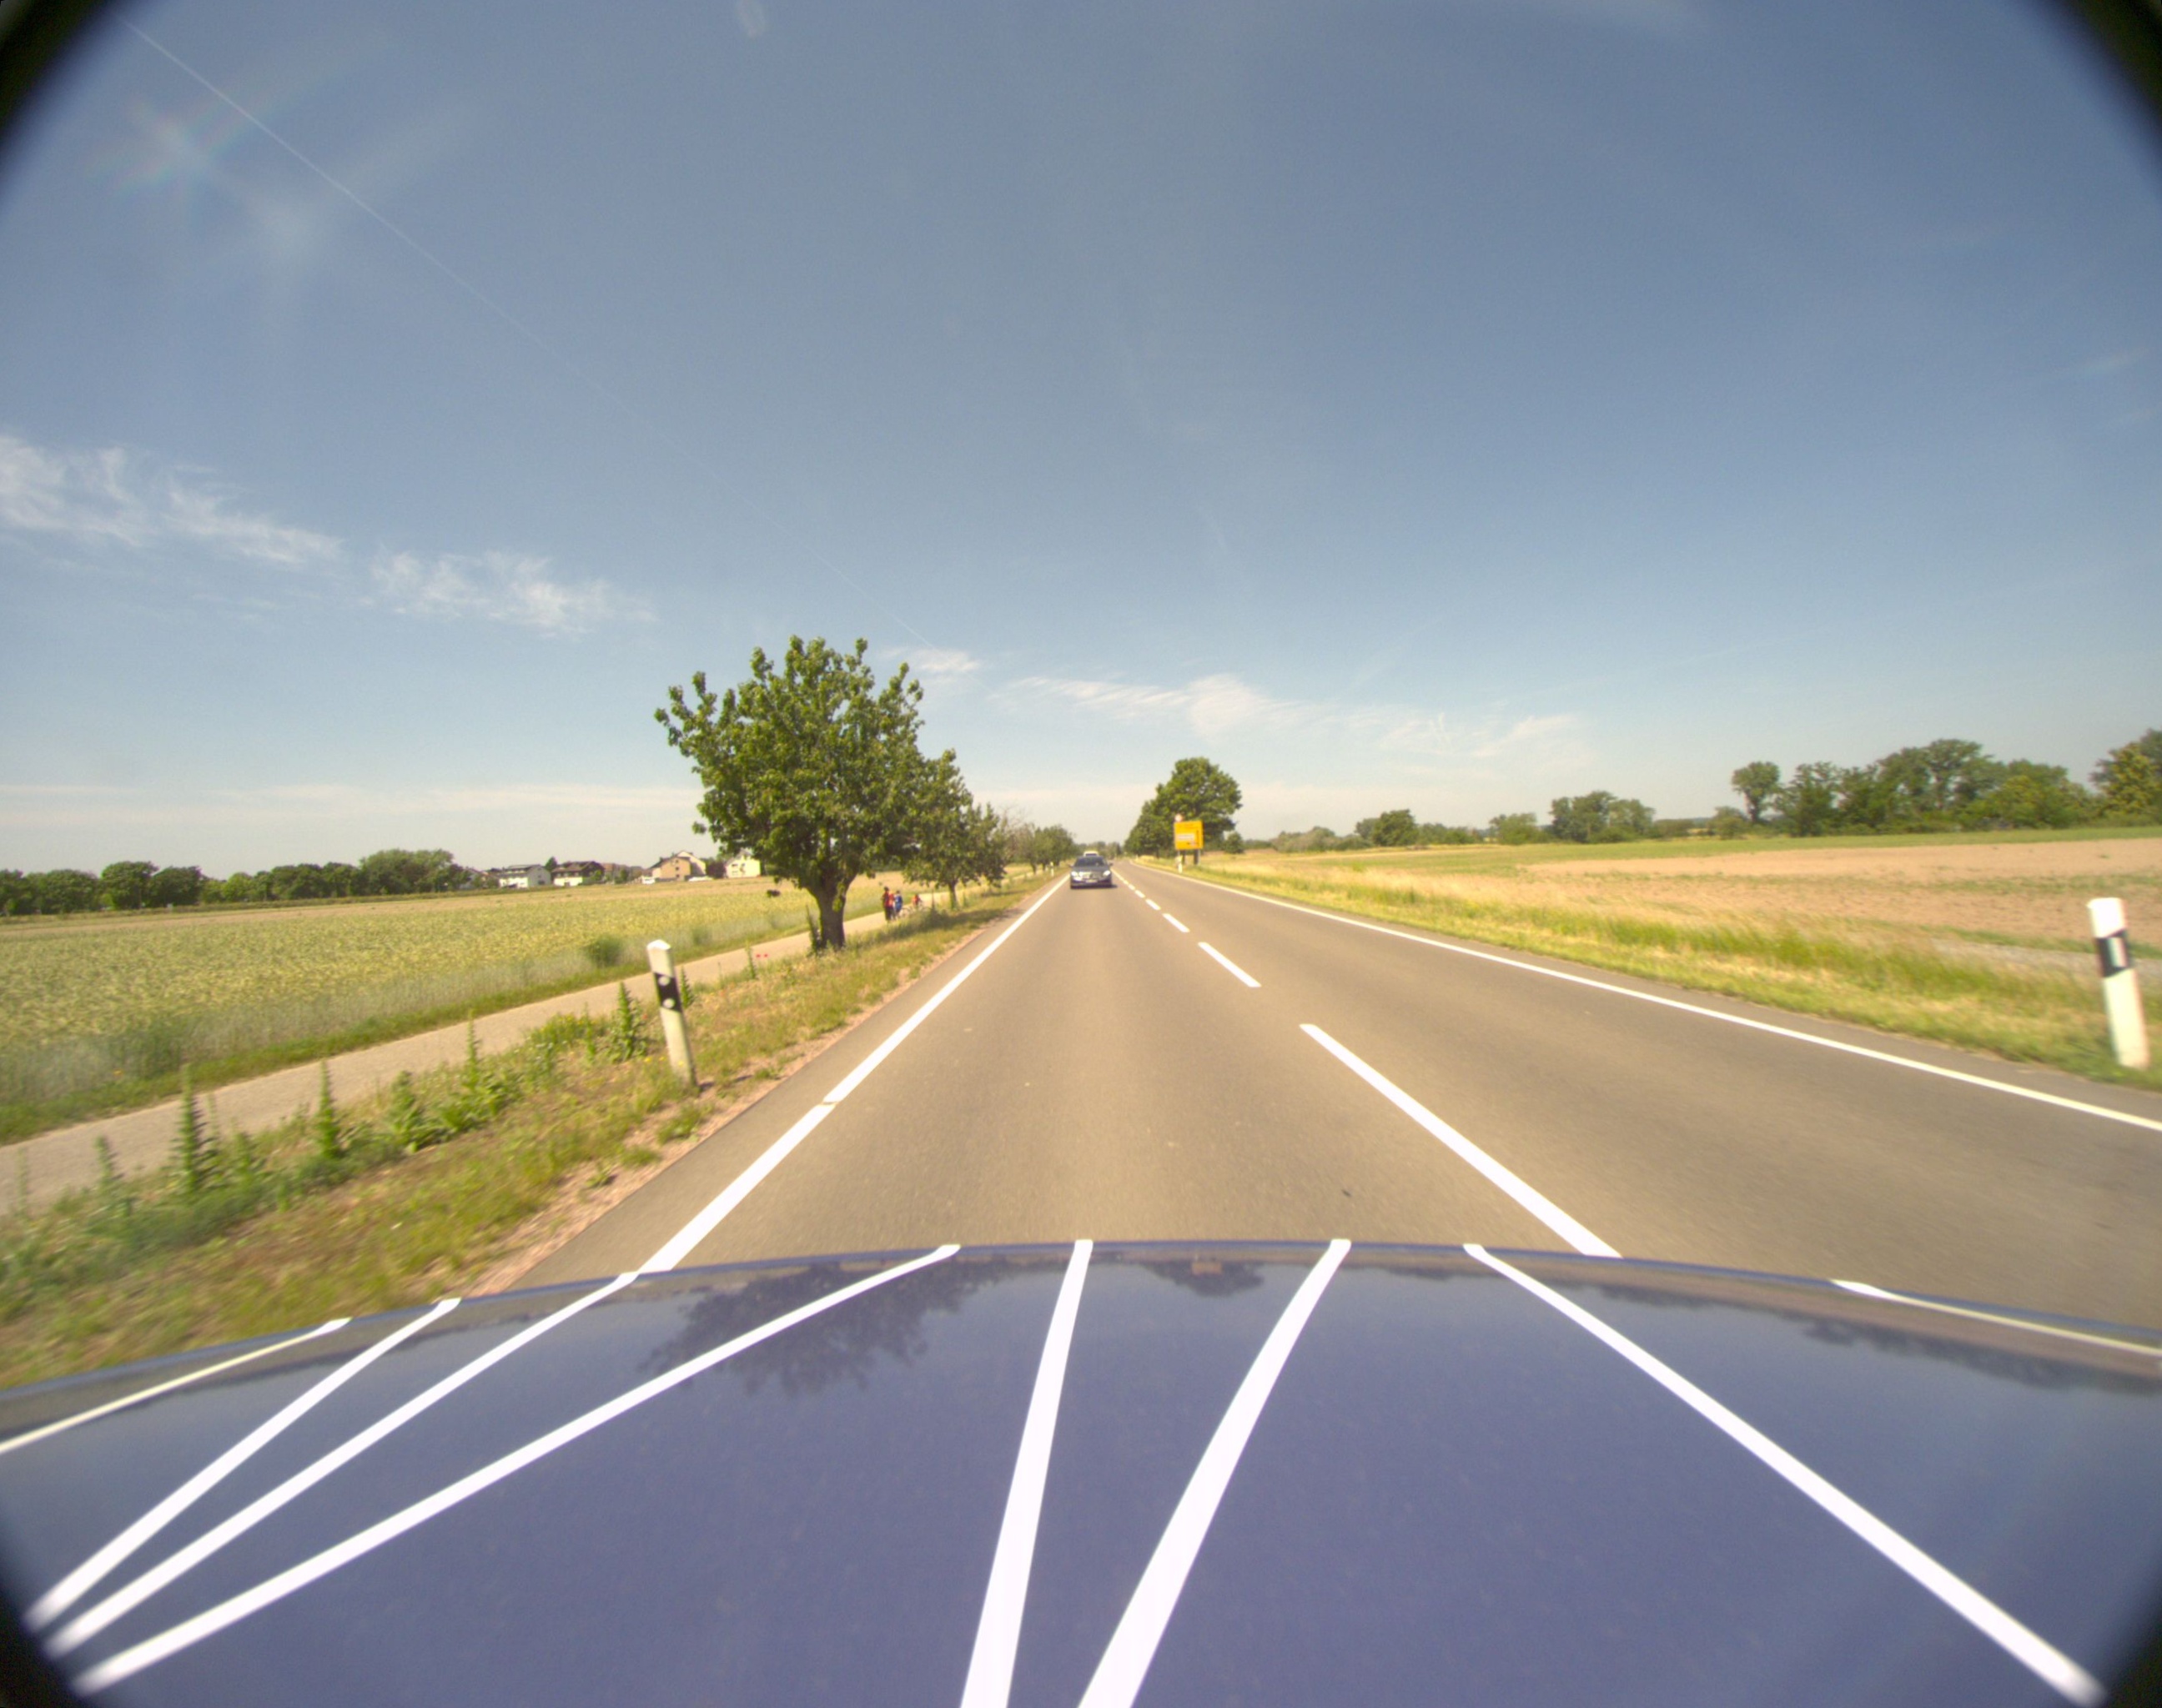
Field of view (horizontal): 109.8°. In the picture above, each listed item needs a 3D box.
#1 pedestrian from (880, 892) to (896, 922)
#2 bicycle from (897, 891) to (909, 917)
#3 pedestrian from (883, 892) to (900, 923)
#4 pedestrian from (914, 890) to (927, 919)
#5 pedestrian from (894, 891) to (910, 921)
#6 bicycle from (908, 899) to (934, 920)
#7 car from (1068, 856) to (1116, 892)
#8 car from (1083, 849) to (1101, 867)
[{"bbox_3d":[-8.529,2.341,33.579,0.443,1.288,0.486,-3,1,-44],"label":"pedestrian"},{"bbox_3d":[-8.600,2.393,36.707,0.477,1.159,1.680,-3,0,-14],"label":"bicycle"},{"bbox_3d":[-8.216,2.298,32.932,0.486,1.306,0.443,-2,1,43],"label":"pedestrian"},{"bbox_3d":[-7.178,2.255,33.973,0.442,1.288,0.487,-2,1,-6],"label":"pedestrian"},{"bbox_3d":[-7.849,2.293,33.351,0.486,1.288,0.443,-2,1,34],"label":"pedestrian"},{"bbox_3d":[-7.055,2.452,33.499,1.116,0.855,0.443,-2,1,38],"label":"bicycle"},{"bbox_3d":[0.450,0.814,32.677,1.954,1.391,4.000,-1,0,0],"label":"car"},{"bbox_3d":[1.306,0.474,89.307,1.998,1.907,4.206,-3,0,1],"label":"car"}]
